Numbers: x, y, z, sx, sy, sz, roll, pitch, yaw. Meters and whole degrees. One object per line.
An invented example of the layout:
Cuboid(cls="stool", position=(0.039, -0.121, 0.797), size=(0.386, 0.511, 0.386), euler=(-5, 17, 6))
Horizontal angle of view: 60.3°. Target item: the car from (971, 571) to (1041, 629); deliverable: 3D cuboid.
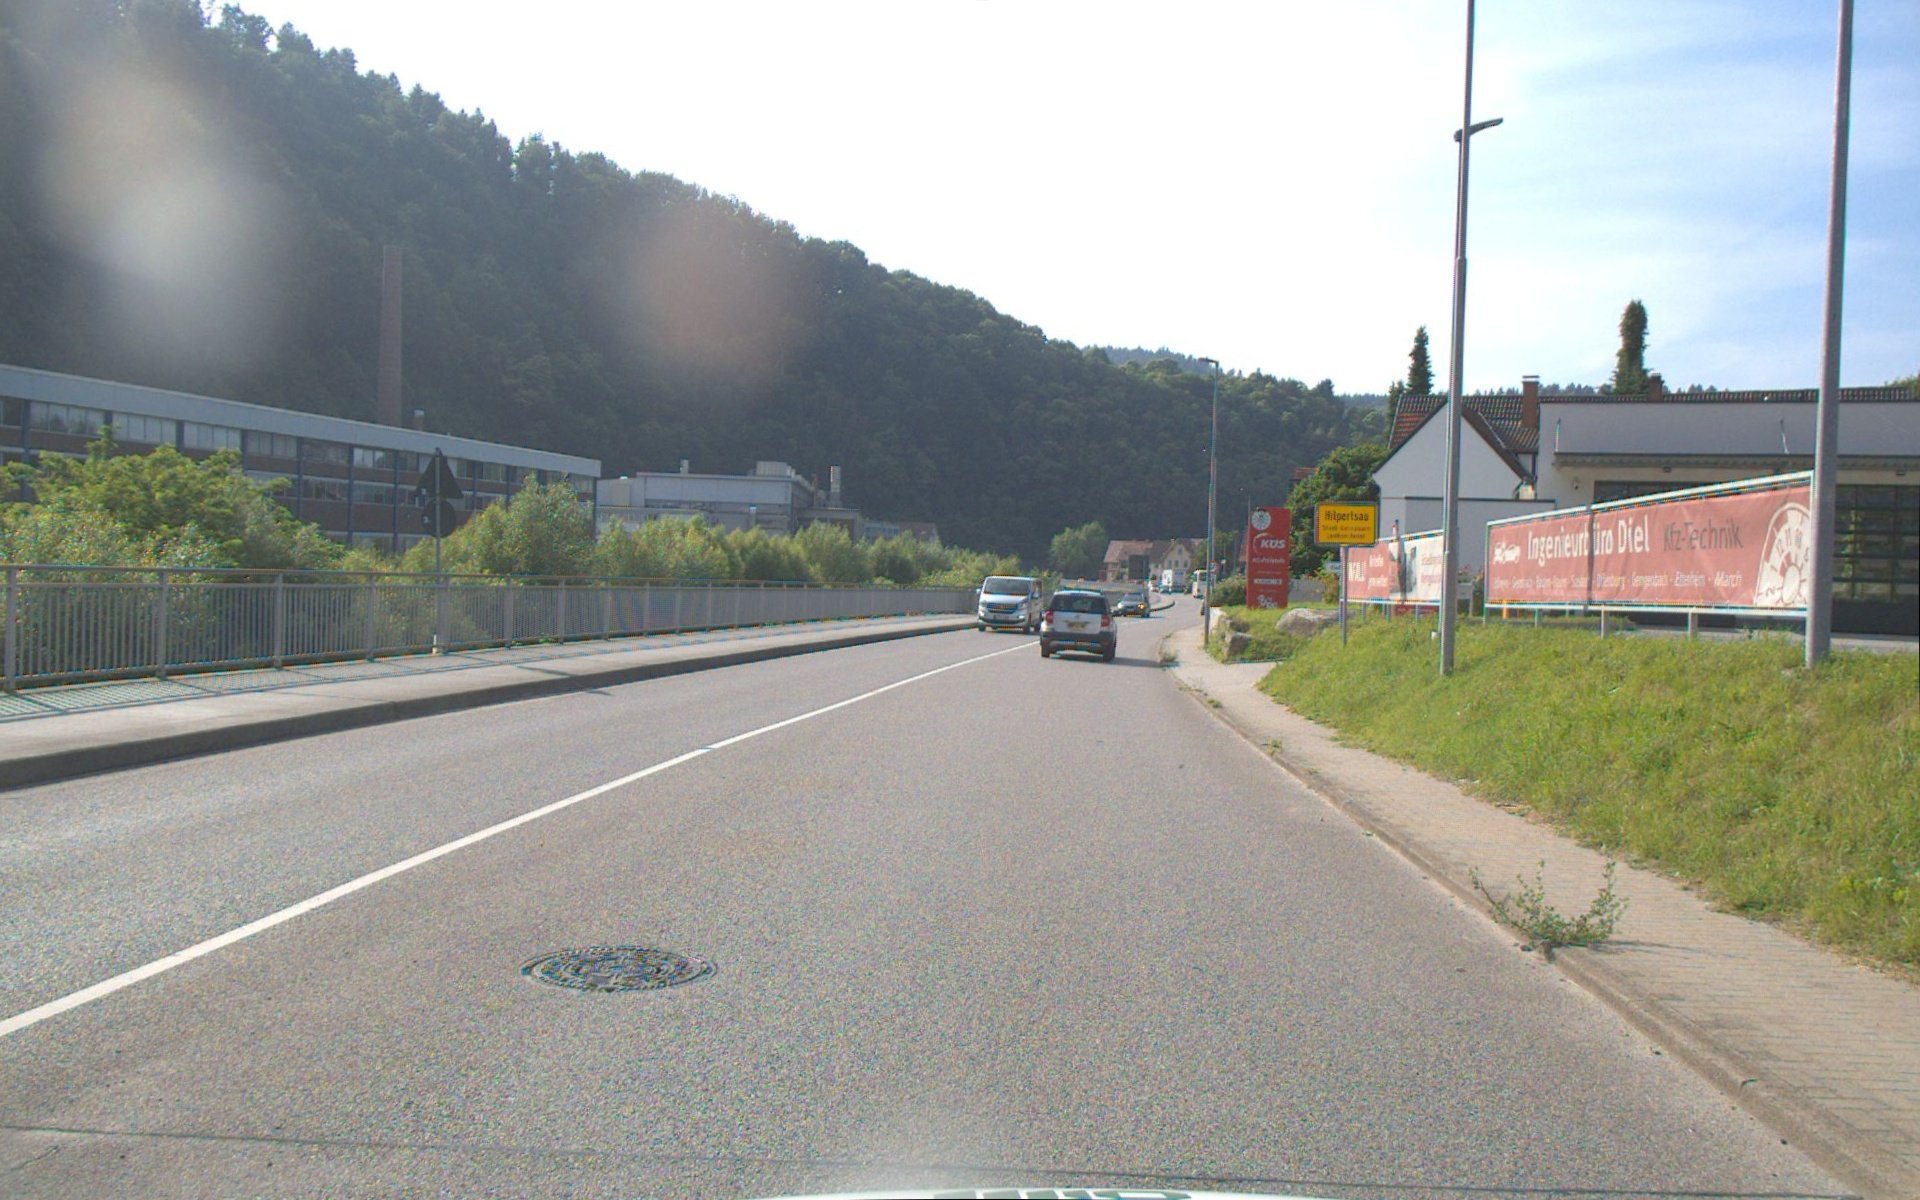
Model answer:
Cuboid(cls="car", position=(1.729, 0.008, 60.172), size=(1.879, 2.002, 5.150), euler=(1, 0, 9))

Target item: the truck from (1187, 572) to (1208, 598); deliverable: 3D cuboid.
Cuboid(cls="truck", position=(32.680, -2.062, 227.688), size=(2.671, 3.433, 6.484), euler=(2, 2, 8))

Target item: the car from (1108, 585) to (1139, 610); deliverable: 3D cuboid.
Cuboid(cls="car", position=(10.404, -0.152, 105.178), size=(1.775, 1.510, 4.801), euler=(2, 0, 8))

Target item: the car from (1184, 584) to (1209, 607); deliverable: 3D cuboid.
Cuboid(cls="car", position=(16.868, -0.318, 117.856), size=(1.587, 1.568, 3.281), euler=(2, 0, 11))

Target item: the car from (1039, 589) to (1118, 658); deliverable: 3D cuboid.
Cuboid(cls="car", position=(2.899, 0.538, 41.218), size=(1.822, 1.571, 4.375), euler=(2, 0, 3))
